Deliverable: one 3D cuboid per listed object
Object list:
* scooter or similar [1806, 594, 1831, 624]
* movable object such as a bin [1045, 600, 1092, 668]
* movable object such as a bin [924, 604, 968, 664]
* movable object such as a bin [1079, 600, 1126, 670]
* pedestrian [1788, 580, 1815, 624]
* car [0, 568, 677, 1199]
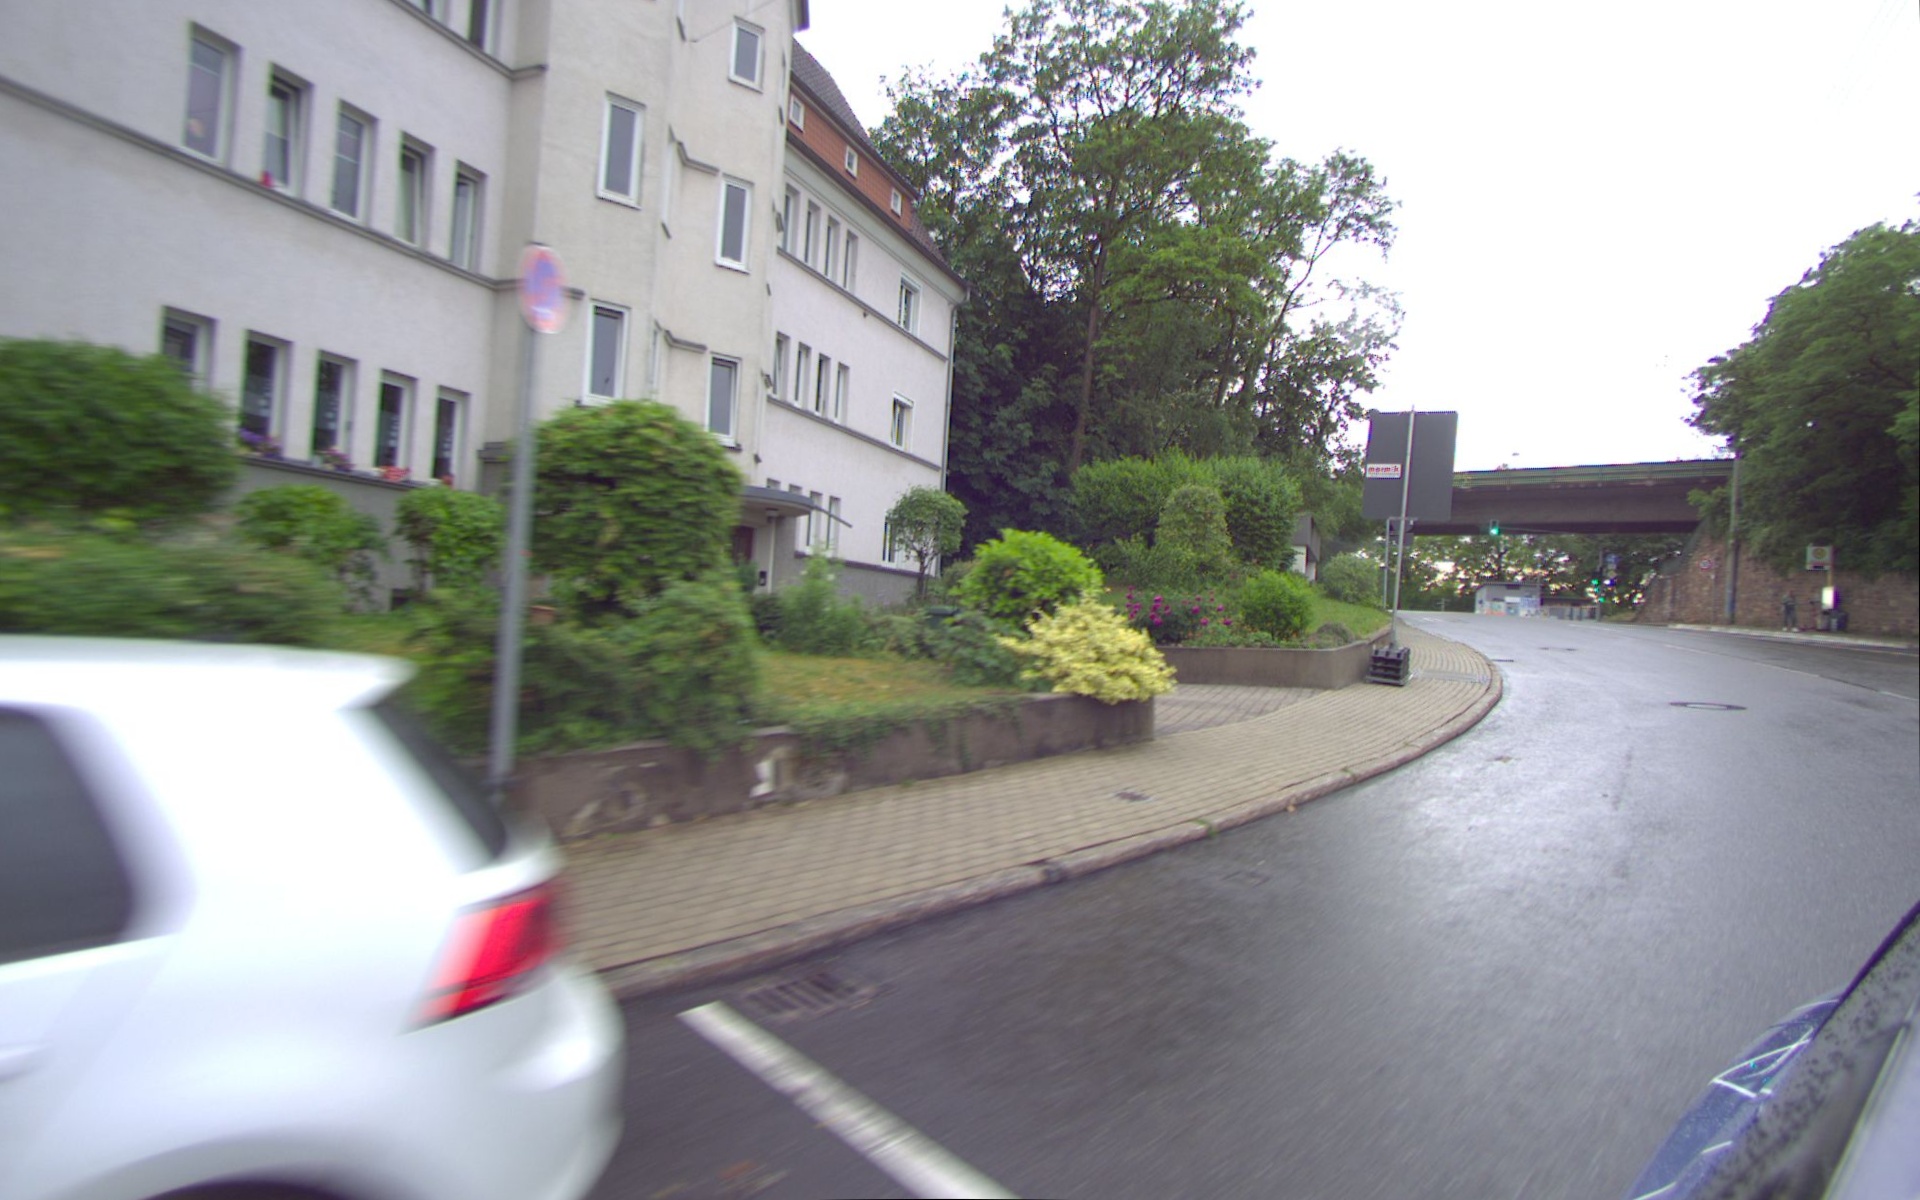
[{"bbox_3d":[34.908,0.358,41.151,0.370,1.196,1.119,1,2,18],"label":"scooter or similar"},{"bbox_3d":[1.714,0.522,15.936,0.526,1.025,0.683,1,2,27],"label":"movable object such as a bin"},{"bbox_3d":[-0.226,0.557,16.875,0.479,0.954,0.683,1,2,27],"label":"movable object such as a bin"},{"bbox_3d":[2.217,0.527,15.711,0.526,1.025,0.683,1,2,27],"label":"movable object such as a bin"},{"bbox_3d":[34.082,0.092,40.996,0.581,1.753,0.620,1,1,17],"label":"pedestrian"},{"bbox_3d":[-2.654,0.719,1.339,4.029,1.464,1.795,-1,-1,-37],"label":"car"}]
